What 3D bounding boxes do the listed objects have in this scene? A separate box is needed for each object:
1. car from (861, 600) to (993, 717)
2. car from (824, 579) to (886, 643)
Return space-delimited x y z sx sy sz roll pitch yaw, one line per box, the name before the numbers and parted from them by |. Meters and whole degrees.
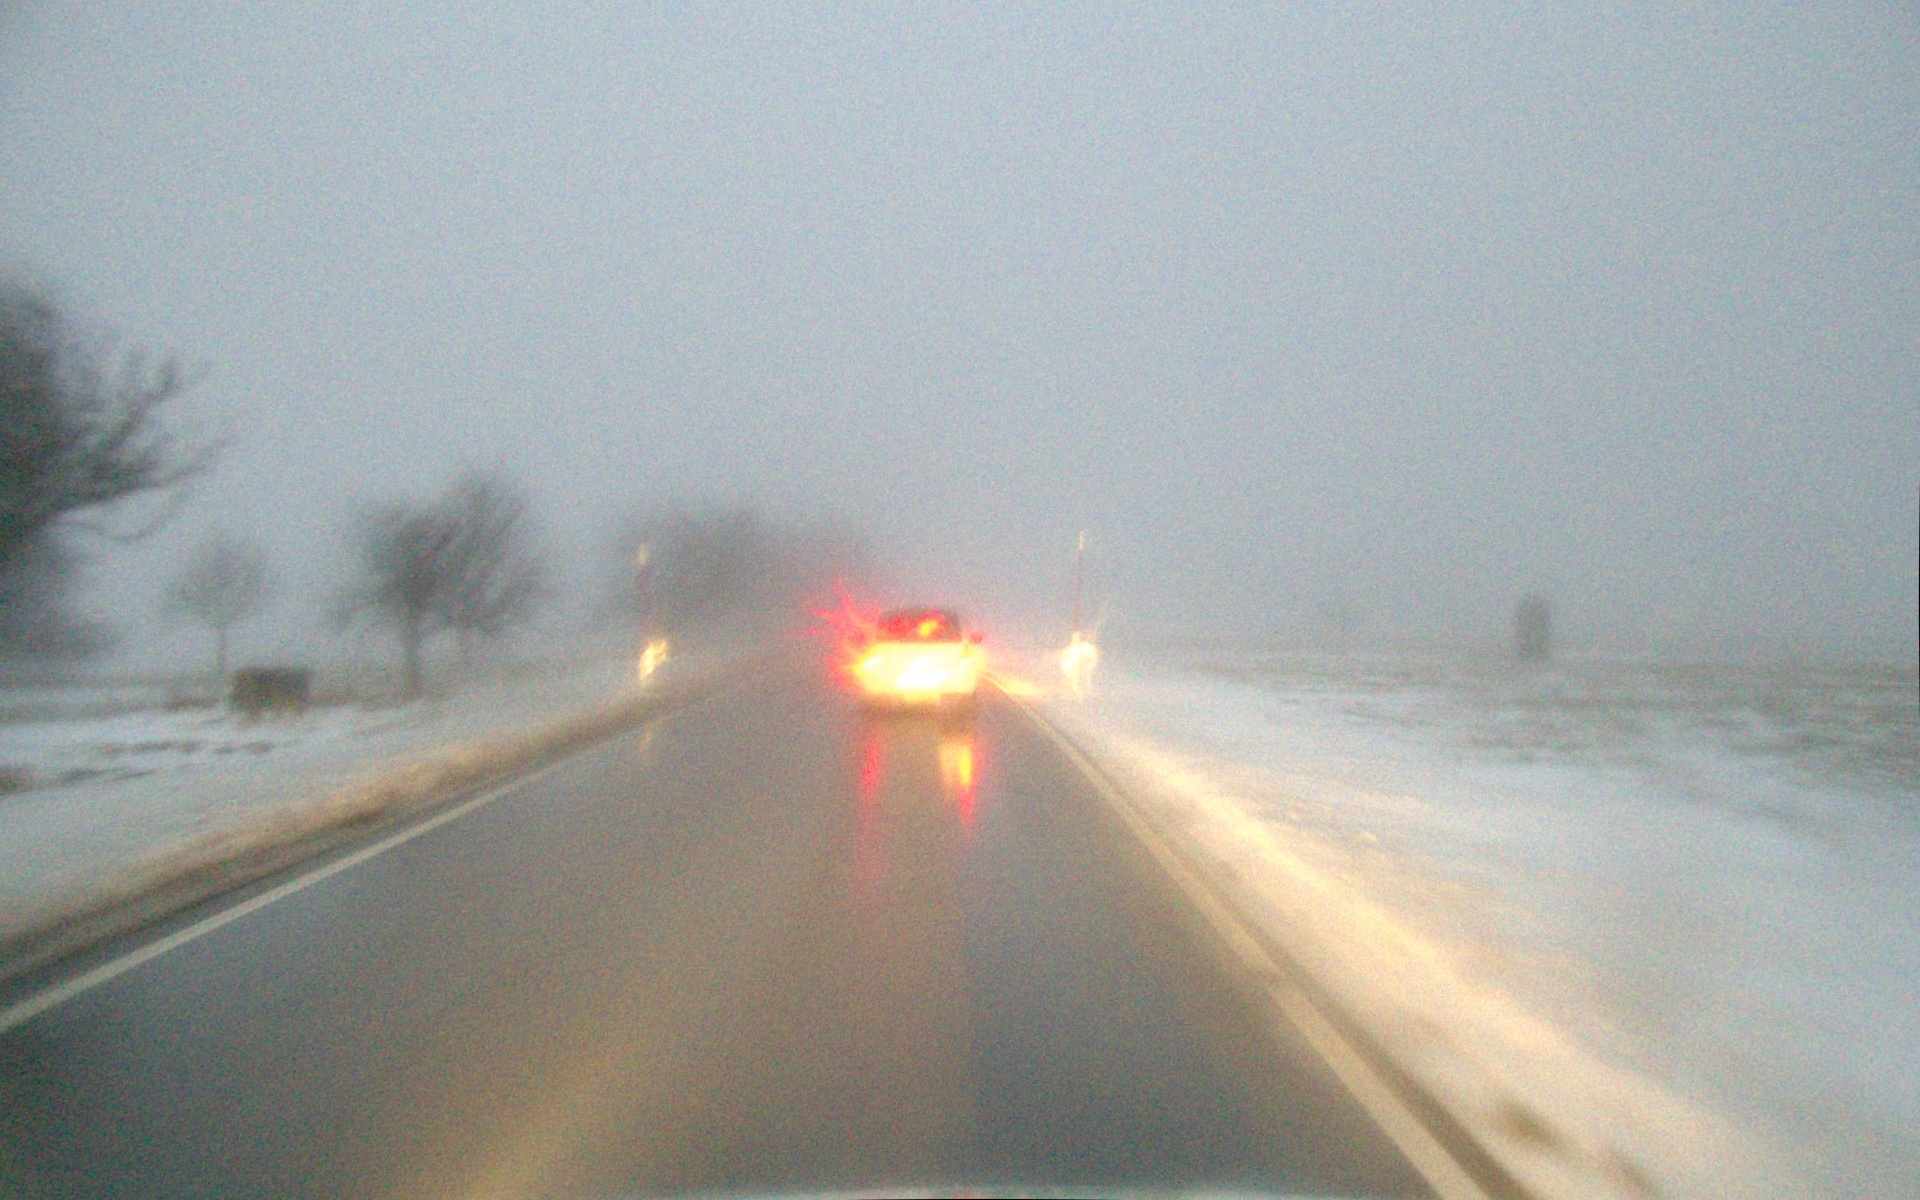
car | -0.503 0.781 23.327 1.672 1.489 3.998 1 -1 -2
car | -2.631 0.293 41.991 1.449 1.534 3.051 -1 -1 -2
